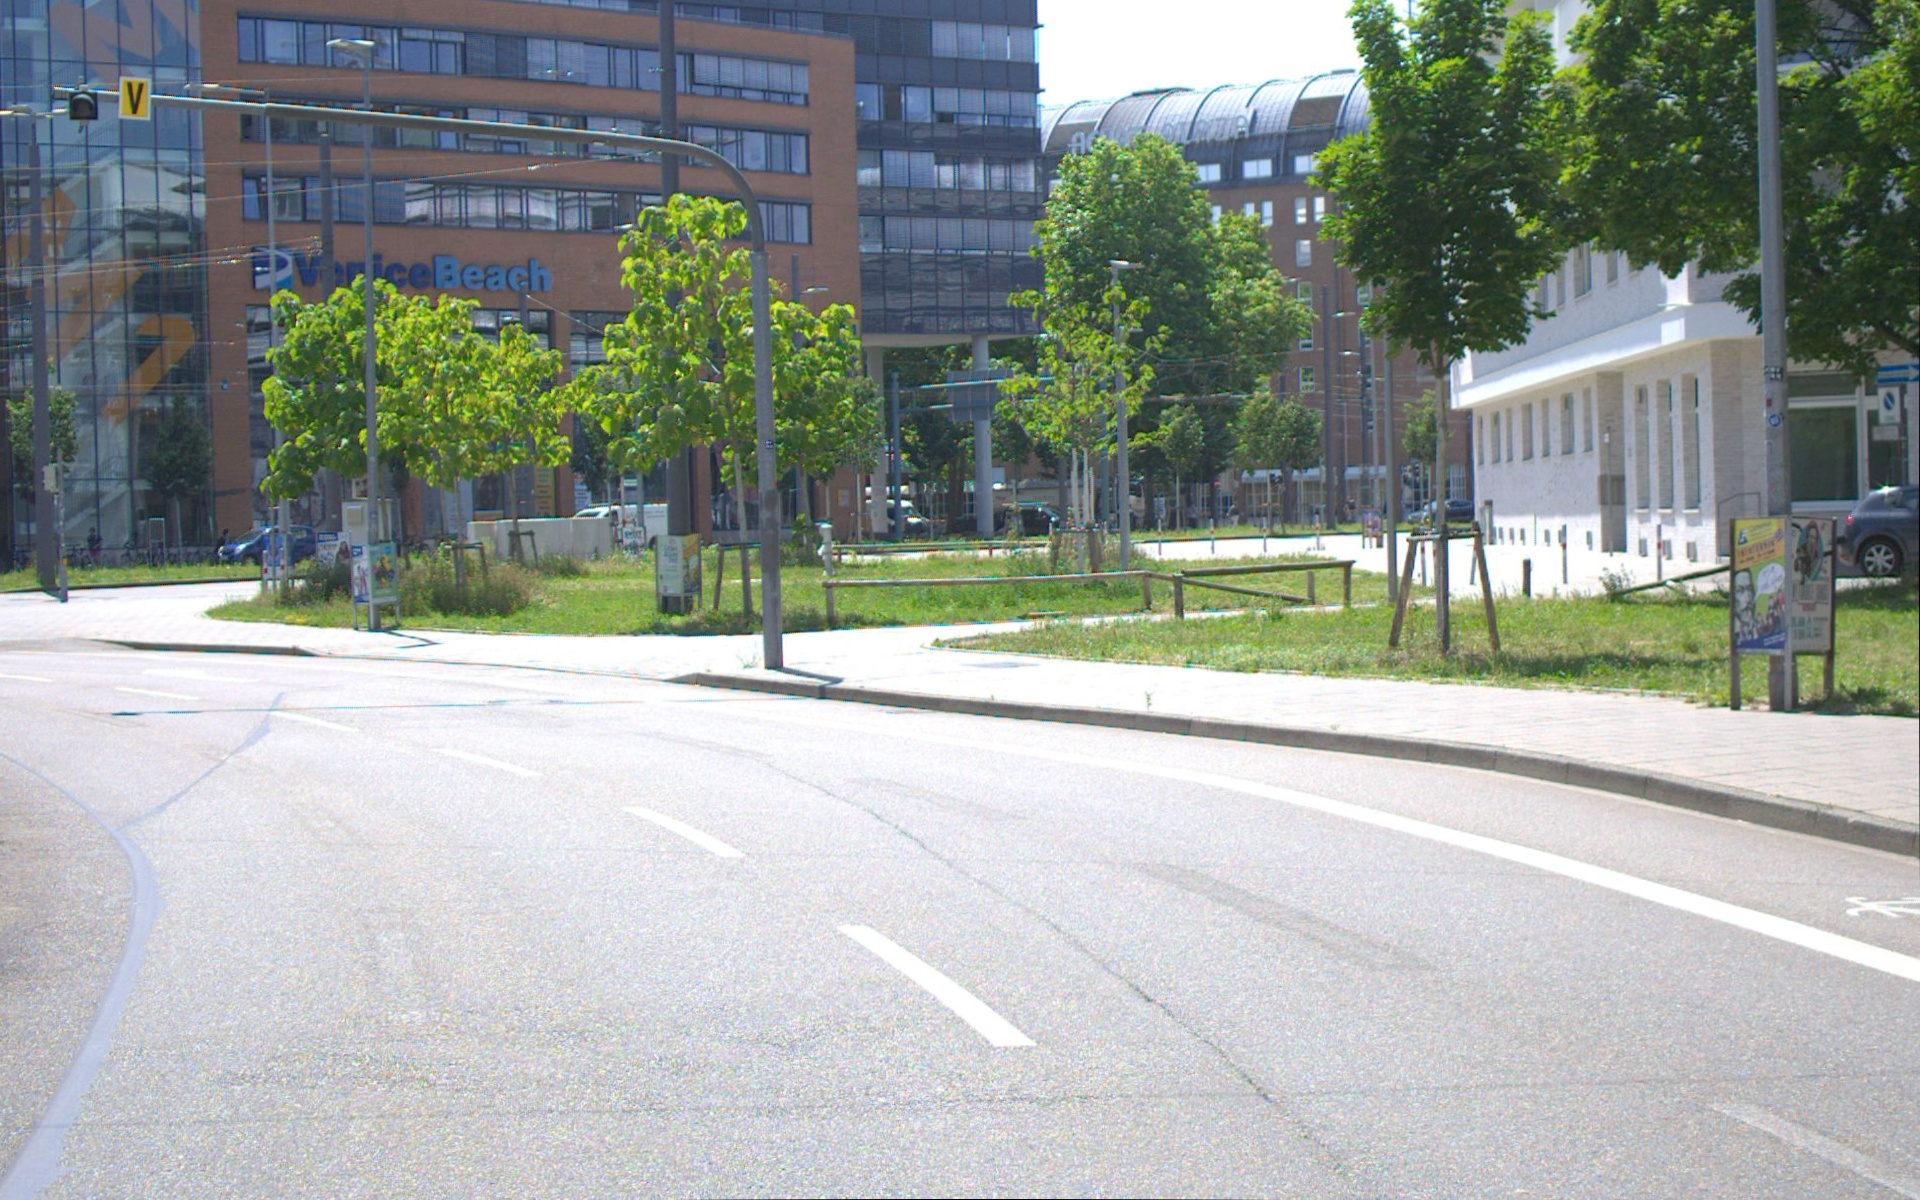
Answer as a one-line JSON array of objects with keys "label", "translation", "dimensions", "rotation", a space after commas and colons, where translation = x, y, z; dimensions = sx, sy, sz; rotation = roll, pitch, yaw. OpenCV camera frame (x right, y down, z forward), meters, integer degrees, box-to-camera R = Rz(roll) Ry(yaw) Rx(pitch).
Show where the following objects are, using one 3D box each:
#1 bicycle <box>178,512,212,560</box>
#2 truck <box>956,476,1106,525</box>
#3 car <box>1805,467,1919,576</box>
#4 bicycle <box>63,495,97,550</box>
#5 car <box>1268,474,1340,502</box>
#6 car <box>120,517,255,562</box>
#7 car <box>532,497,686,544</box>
[{"label": "bicycle", "translation": [-28.889, -2.436, 129.874], "dimensions": [0.485, 1.790, 2.259], "rotation": [-1, 2, -33]}, {"label": "truck", "translation": [4.153, -5.859, 202.504], "dimensions": [9.228, 2.799, 1.996], "rotation": [1, 2, 35]}, {"label": "car", "translation": [14.918, -1.178, 51.417], "dimensions": [4.124, 1.619, 1.692], "rotation": [1, 2, 32]}, {"label": "bicycle", "translation": [-32.676, -2.870, 127.588], "dimensions": [0.485, 2.007, 2.346], "rotation": [-1, 2, -33]}, {"label": "car", "translation": [21.146, -6.884, 211.313], "dimensions": [3.994, 1.722, 1.863], "rotation": [1, 2, 33]}, {"label": "car", "translation": [-25.599, -2.021, 114.021], "dimensions": [3.988, 1.437, 1.743], "rotation": [-2, 2, -36]}, {"label": "car", "translation": [-12.887, -2.947, 126.529], "dimensions": [5.465, 1.662, 1.999], "rotation": [-2, 2, -40]}]
